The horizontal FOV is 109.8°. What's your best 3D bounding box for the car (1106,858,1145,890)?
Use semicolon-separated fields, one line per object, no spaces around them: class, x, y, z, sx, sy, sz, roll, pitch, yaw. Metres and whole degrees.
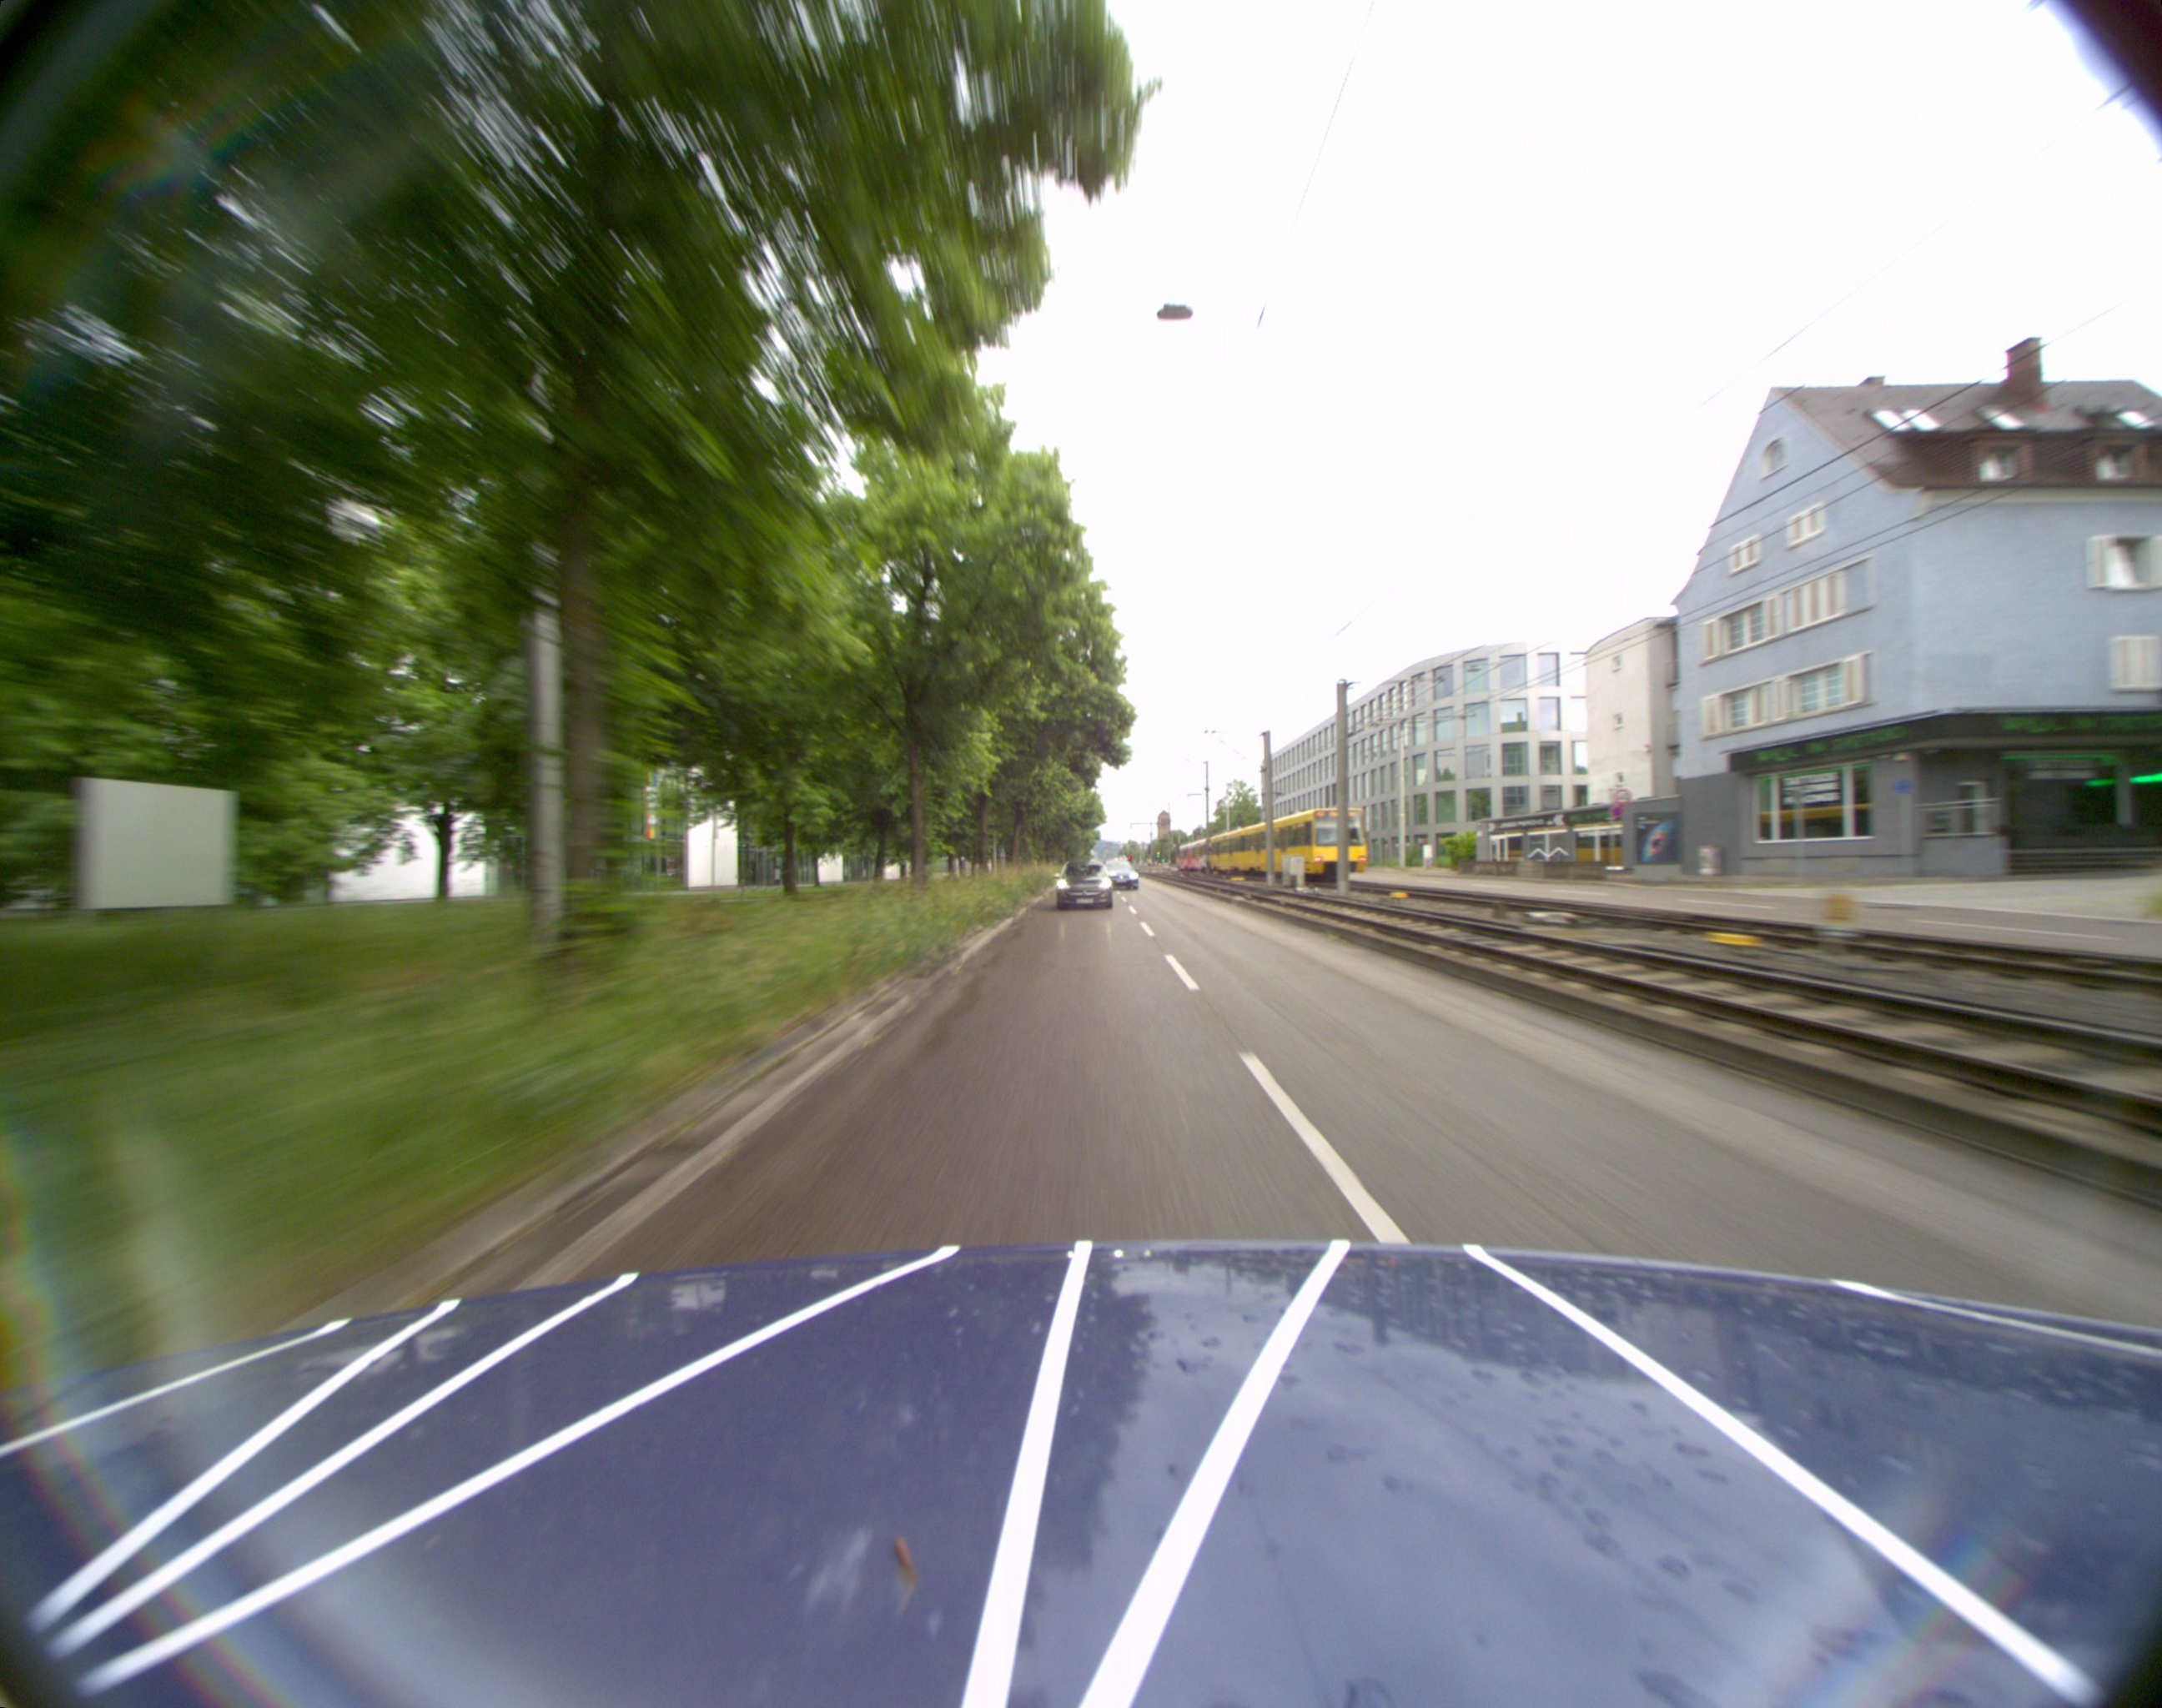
car;2.161;0.933;37.728;1.770;1.439;3.833;-1;0;1

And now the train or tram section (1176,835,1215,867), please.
train or tram section;14.918;-0.283;100.524;2.974;3.788;18.618;-1;0;3

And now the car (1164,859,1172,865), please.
car;24.693;2.172;216.107;1.812;1.627;3.564;-2;-1;1

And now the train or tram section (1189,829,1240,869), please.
train or tram section;14.091;-0.422;81.936;2.974;3.788;18.618;-1;0;3

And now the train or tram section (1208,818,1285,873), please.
train or tram section;13.253;-0.547;63.074;2.974;3.788;19.102;-1;0;3

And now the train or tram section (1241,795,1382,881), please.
train or tram section;12.361;-0.653;43.759;2.974;3.788;19.524;-1;0;3

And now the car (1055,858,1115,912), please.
car;0.199;0.930;24.465;1.698;1.439;4.420;-3;0;2
